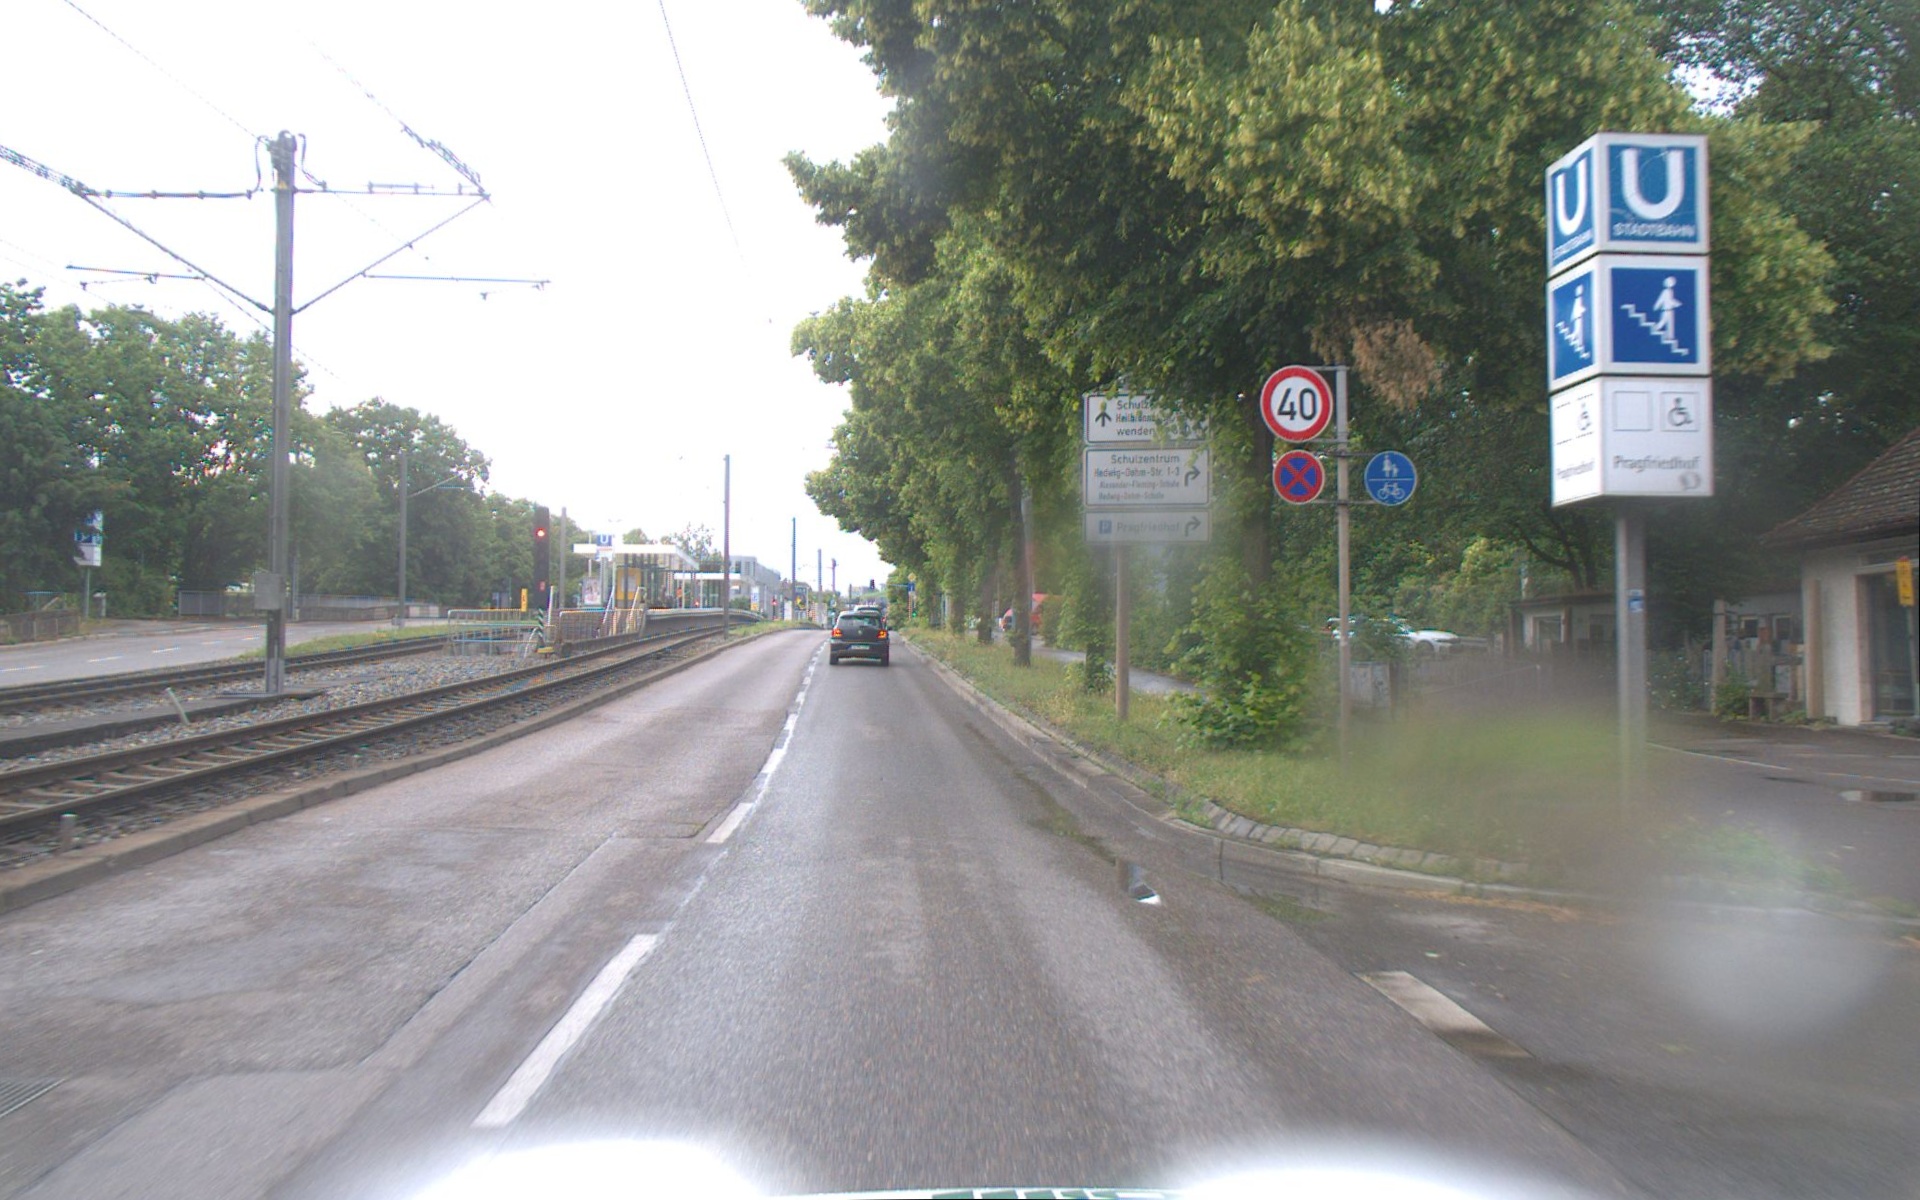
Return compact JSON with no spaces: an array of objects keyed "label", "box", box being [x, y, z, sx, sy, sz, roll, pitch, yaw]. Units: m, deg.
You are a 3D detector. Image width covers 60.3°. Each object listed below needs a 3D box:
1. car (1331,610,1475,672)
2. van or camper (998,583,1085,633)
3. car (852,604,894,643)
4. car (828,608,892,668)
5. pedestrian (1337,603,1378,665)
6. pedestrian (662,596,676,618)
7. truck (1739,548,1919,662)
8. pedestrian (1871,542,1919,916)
[{"label":"car","box":[15.178,1.389,56.842,1.931,1.866,4.397,3,0,-43]},{"label":"van or camper","box":[4.683,0.466,94.177,2.004,2.447,5.364,4,-1,39]},{"label":"car","box":[-3.636,0.967,69.020,1.654,1.544,3.997,0,0,-3]},{"label":"car","box":[-2.760,1.018,46.273,1.692,1.567,3.998,0,0,-2]},{"label":"pedestrian","box":[13.527,1.156,56.267,0.948,2.049,0.942,1,0,-27]},{"label":"pedestrian","box":[-16.708,0.390,94.874,0.696,1.247,0.619,1,-1,-3]},{"label":"truck","box":[24.445,0.141,45.787,2.014,2.918,6.595,0,0,-7]},{"label":"pedestrian","box":[5.267,0.656,8.416,0.837,1.886,0.737,1,0,0]}]
